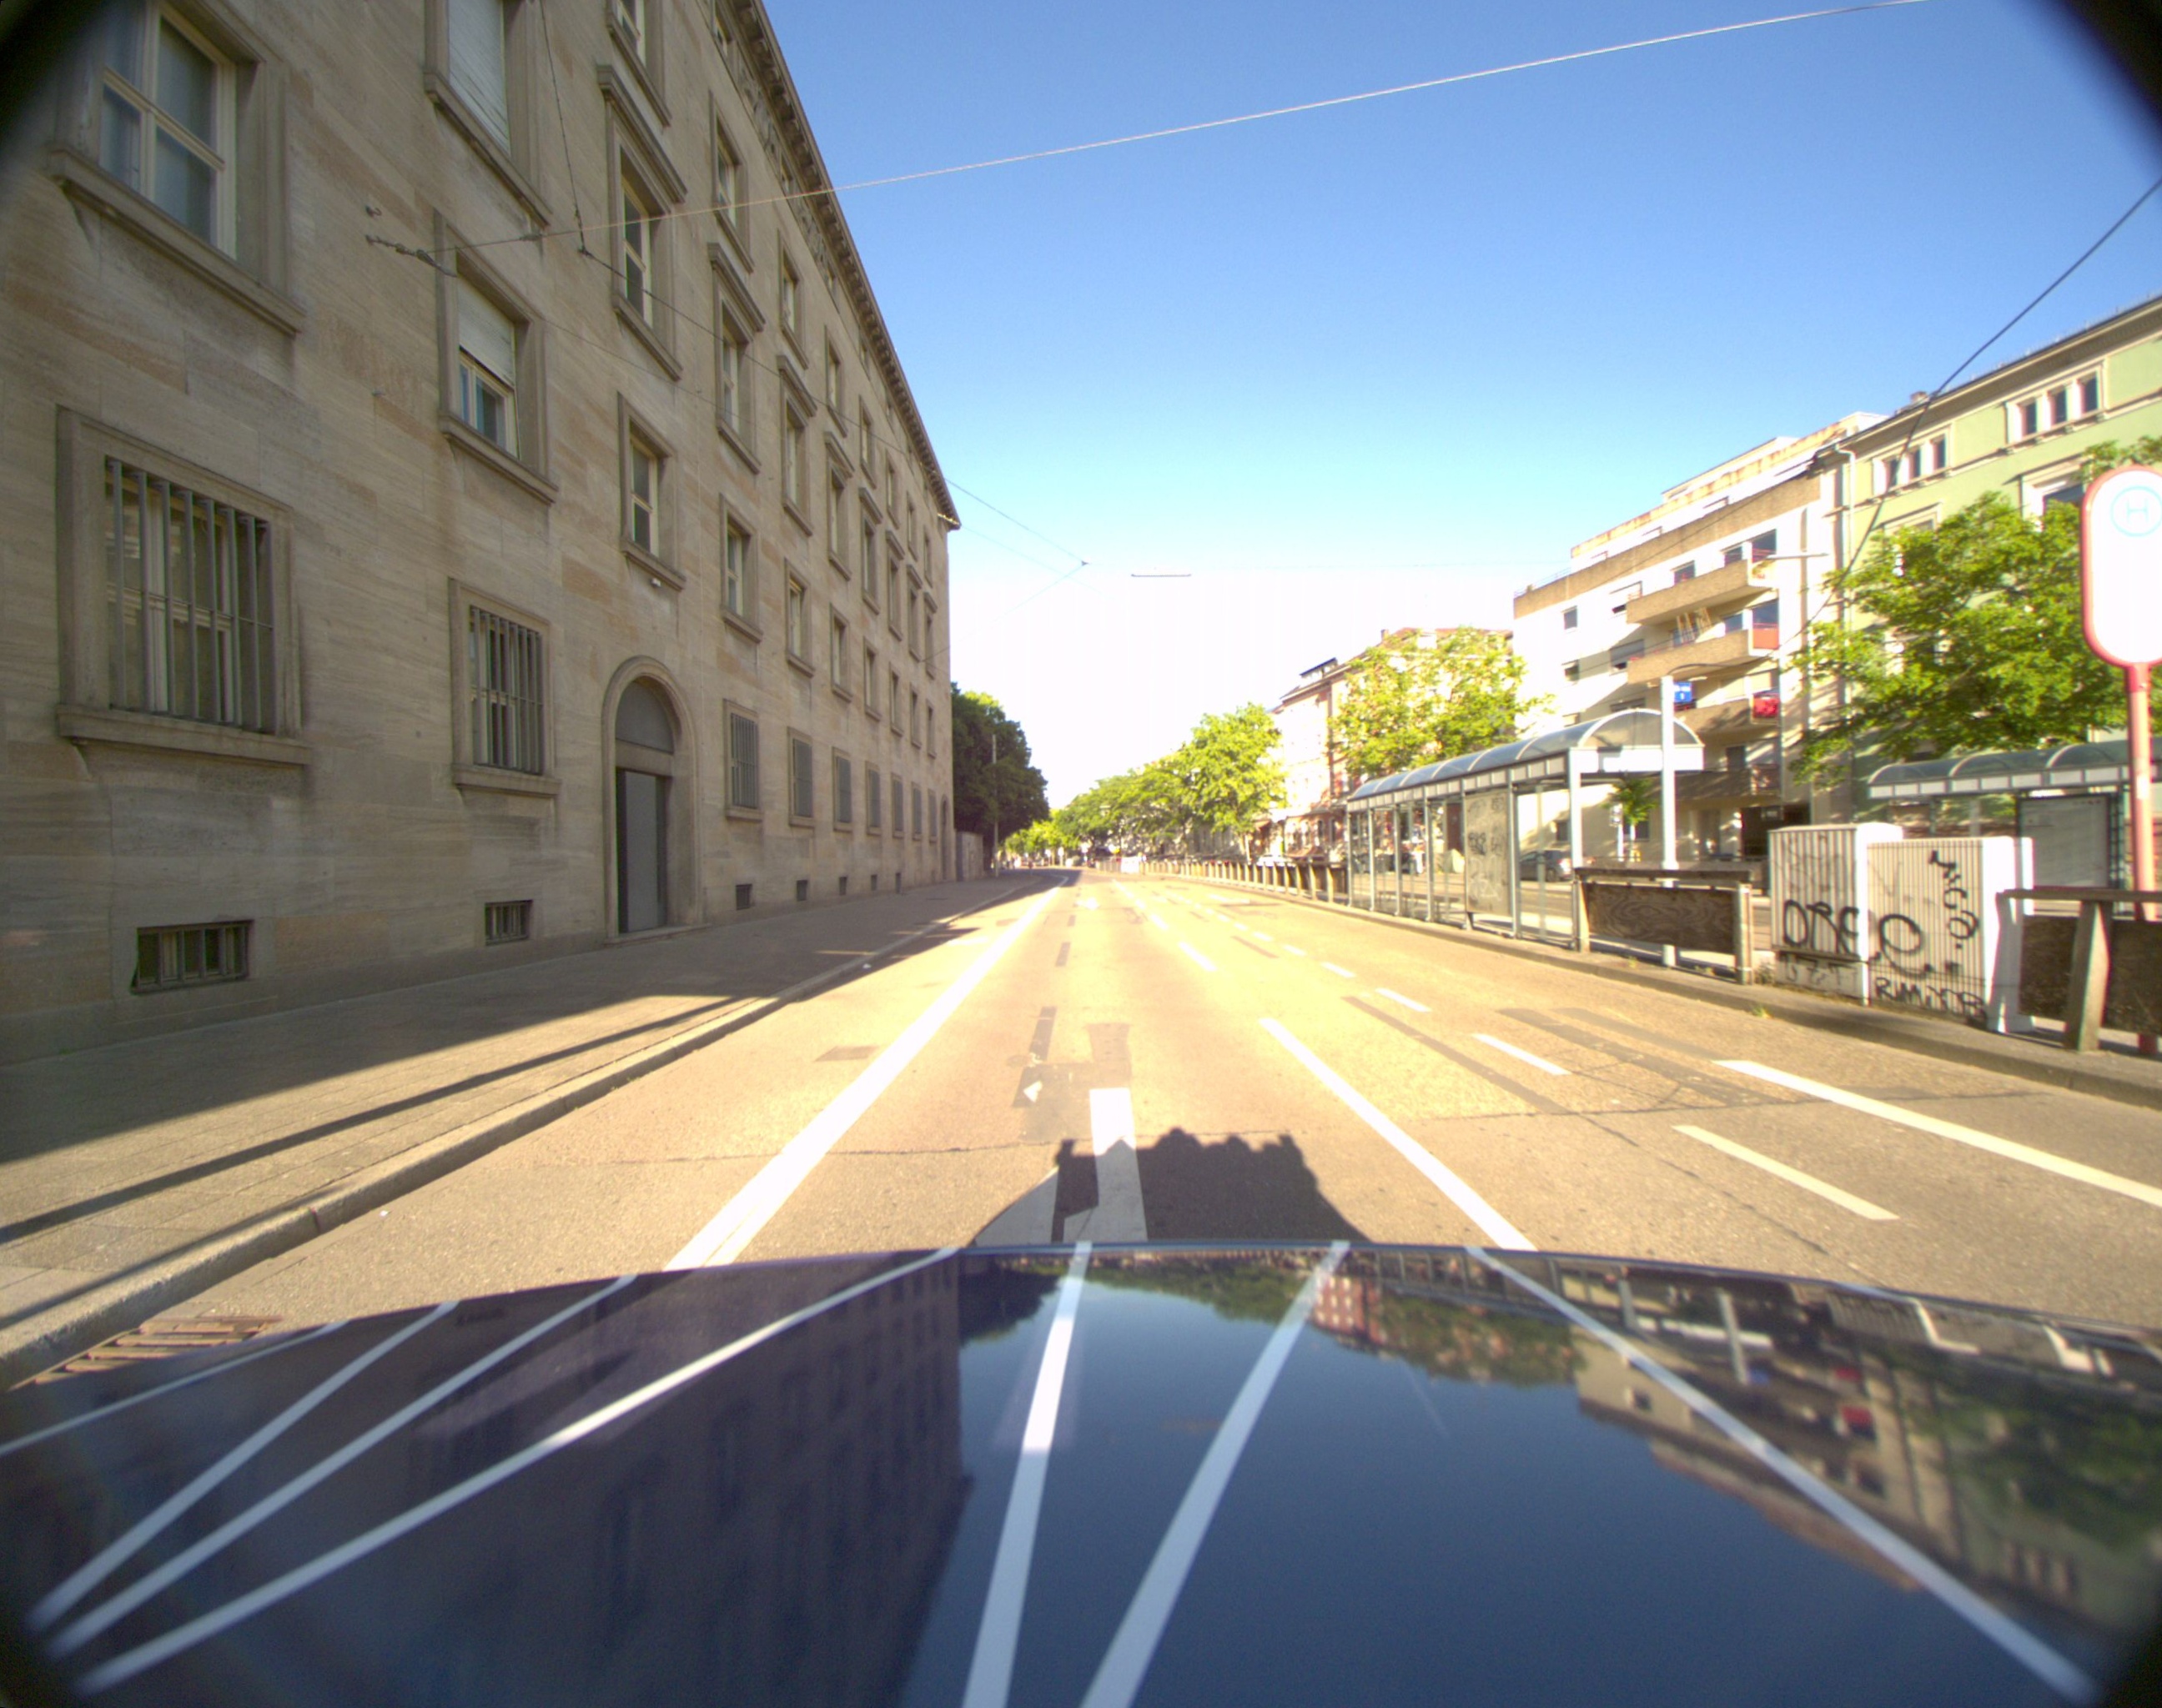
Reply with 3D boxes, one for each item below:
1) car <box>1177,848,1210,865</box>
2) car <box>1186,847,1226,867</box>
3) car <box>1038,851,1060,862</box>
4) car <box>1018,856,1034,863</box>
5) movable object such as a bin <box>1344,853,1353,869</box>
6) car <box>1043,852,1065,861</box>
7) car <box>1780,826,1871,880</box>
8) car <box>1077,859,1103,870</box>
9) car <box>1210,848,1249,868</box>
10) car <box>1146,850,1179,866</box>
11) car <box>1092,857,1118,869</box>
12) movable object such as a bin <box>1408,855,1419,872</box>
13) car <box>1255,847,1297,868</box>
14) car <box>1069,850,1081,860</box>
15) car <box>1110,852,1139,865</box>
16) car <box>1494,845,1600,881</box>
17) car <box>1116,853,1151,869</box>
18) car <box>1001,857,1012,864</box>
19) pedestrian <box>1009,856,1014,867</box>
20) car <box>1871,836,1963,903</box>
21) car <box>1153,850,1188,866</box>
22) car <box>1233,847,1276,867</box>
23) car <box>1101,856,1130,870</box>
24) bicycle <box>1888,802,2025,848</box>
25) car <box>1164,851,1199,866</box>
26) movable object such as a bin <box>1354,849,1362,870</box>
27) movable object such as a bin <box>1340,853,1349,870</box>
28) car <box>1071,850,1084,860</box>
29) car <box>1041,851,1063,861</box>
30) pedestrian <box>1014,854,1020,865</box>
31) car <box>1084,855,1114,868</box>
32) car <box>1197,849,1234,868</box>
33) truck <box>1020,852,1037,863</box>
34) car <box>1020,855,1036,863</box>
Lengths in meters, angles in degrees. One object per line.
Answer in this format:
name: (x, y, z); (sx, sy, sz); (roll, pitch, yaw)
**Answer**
car: (12.057, 0.249, 81.098); (3.286, 1.524, 1.703); (-6, 2, -43)
car: (12.794, 0.256, 77.504); (4.293, 1.713, 1.703); (-6, 3, -43)
car: (-6.937, 0.552, 164.095); (4.311, 1.940, 1.670); (-4, 1, -18)
car: (-14.315, 1.312, 197.475); (3.775, 1.584, 1.670); (-4, 1, -18)
movable object such as a bin: (18.045, 0.439, 51.264); (0.380, 1.062, 0.639); (-1, 1, 0)
car: (-5.668, 0.598, 157.787); (4.105, 1.561, 1.670); (-4, 1, -18)
car: (22.914, -0.081, 23.375); (4.524, 1.417, 1.868); (-4, 2, -45)
car: (1.416, 1.599, 119.824); (4.007, 1.478, 1.777); (-4, 2, -44)
car: (13.999, 0.392, 71.419); (1.630, 1.607, 3.993); (-3, 1, 43)
car: (9.678, 0.446, 90.141); (3.877, 1.645, 1.768); (-4, 2, -41)
car: (3.651, 1.402, 115.016); (1.744, 1.511, 3.772); (-2, 2, 44)
movable object such as a bin: (21.352, 0.623, 48.778); (0.380, 1.090, 0.552); (-1, 2, -6)
car: (16.370, 0.284, 63.679); (1.731, 1.513, 3.923); (-3, 1, 41)
car: (-1.203, 0.241, 146.265); (1.673, 1.886, 3.211); (-1, 0, -12)
car: (6.297, 0.634, 109.146); (4.208, 1.549, 1.636); (-4, 1, -41)
car: (20.925, 0.373, 34.338); (1.711, 1.402, 4.289); (-4, 1, -8)
car: (6.521, 0.841, 94.151); (4.208, 1.788, 1.781); (-5, 2, -41)
car: (-18.656, 1.633, 189.566); (1.878, 1.591, 4.421); (-1, 0, -16)
pedestrian: (-11.096, 1.192, 121.044); (0.831, 1.710, 0.804); (-1, 1, -6)
car: (23.997, 0.368, 21.934); (4.524, 1.632, 1.585); (-4, 2, -45)
car: (10.287, 0.459, 86.937); (3.877, 1.645, 1.768); (-4, 2, -41)
car: (15.301, 0.268, 66.812); (3.929, 1.499, 1.685); (-5, 1, -43)
car: (5.064, 1.337, 112.186); (4.208, 1.714, 1.780); (-5, 2, -44)
bicycle: (29.121, -0.927, 25.379); (0.719, 1.390, 3.007); (-1, 0, -14)
car: (11.200, 0.497, 84.446); (3.829, 1.477, 1.766); (-4, 2, -41)
movable object such as a bin: (18.684, 0.354, 51.320); (0.380, 1.418, 0.386); (-1, 1, 0)
movable object such as a bin: (18.181, 0.504, 52.474); (0.380, 1.196, 0.639); (-1, 1, 0)
car: (-0.647, 0.248, 141.978); (1.673, 1.886, 3.211); (-1, 0, -12)
car: (-6.099, 0.381, 161.426); (4.311, 1.940, 1.670); (-4, 1, -18)
pedestrian: (-10.222, 0.871, 120.915); (0.872, 1.710, 0.804); (-1, 1, -3)
car: (2.794, 1.138, 117.237); (4.366, 1.704, 1.944); (-4, 2, -35)
car: (13.140, 0.414, 73.990); (1.630, 1.607, 3.993); (-2, 1, 43)
truck: (-13.156, 0.846, 190.805); (3.774, 2.409, 1.671); (-4, 1, -13)
car: (-13.451, 1.268, 193.669); (3.775, 1.584, 1.670); (-4, 1, -18)
